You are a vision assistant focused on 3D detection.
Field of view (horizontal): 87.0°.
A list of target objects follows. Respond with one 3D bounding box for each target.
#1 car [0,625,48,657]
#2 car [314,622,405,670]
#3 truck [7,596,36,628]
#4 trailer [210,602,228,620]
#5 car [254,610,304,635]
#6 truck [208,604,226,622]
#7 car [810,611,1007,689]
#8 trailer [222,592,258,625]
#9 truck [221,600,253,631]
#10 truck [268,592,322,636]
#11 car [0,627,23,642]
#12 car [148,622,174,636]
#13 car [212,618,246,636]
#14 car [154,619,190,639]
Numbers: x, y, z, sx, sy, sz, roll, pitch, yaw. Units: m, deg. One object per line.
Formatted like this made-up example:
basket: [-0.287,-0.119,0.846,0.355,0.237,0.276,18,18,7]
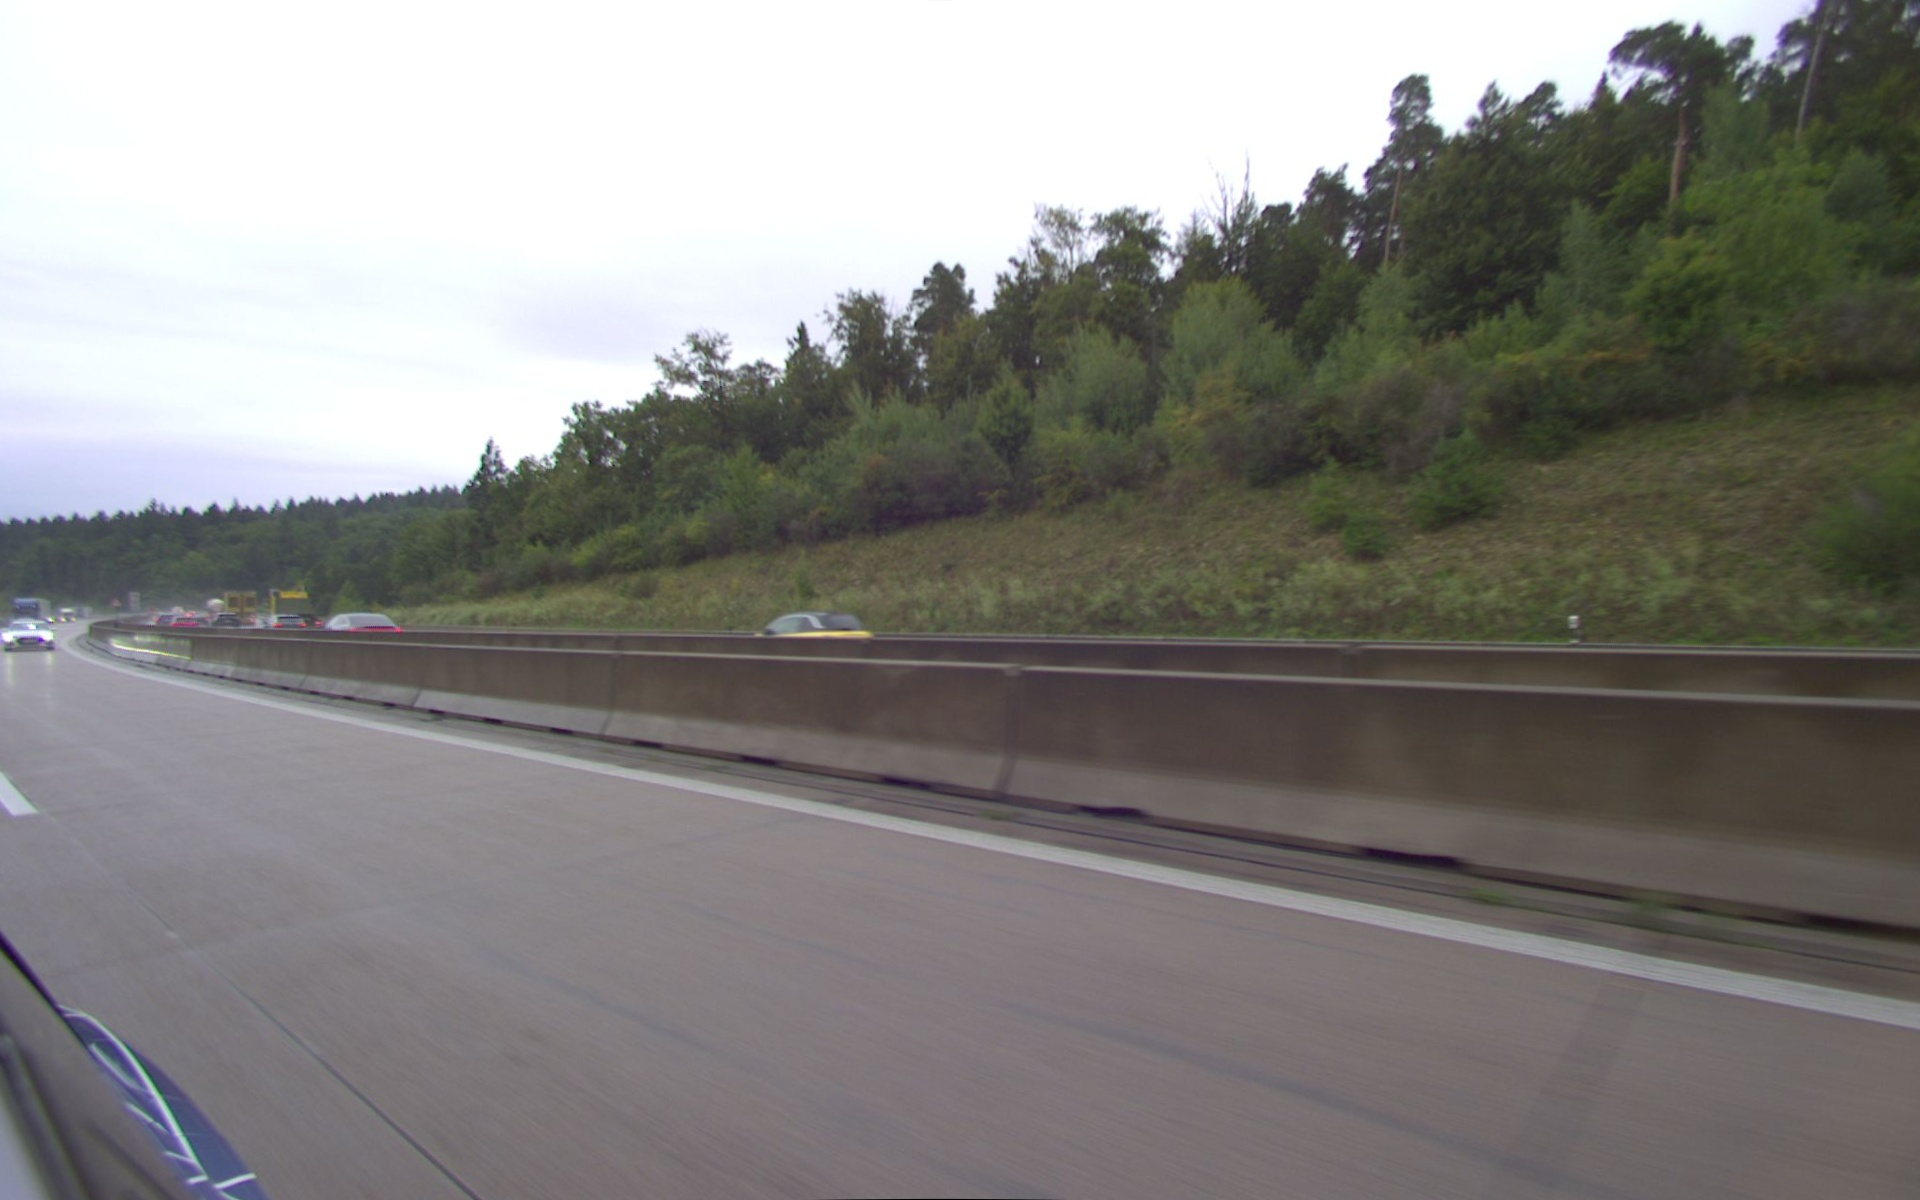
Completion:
car: [-45.041,1.947,48.578,1.692,1.417,4.939,-1,-1,-44]
car: [-21.158,1.577,35.570,1.843,1.560,4.002,0,-1,-45]
truck: [-131.656,1.707,141.979,2.699,4.183,8.627,-1,-1,-44]
trailer: [-155.501,2.397,212.448,2.514,3.694,8.244,-1,0,-40]
car: [-39.729,1.285,58.978,4.088,1.356,1.635,-1,0,45]
truck: [-160.353,2.802,218.293,2.532,3.694,10.510,-1,0,-39]
car: [-1.178,1.020,21.629,4.279,1.498,1.558,-2,-1,40]
trailer: [-90.269,1.081,126.766,2.975,3.904,13.727,-1,0,-38]
truck: [-94.496,2.002,132.150,2.987,3.904,8.133,-1,0,-38]
truck: [-53.779,1.137,81.734,2.589,3.321,9.397,0,-1,-40]
car: [-93.347,3.378,99.385,1.691,1.417,4.943,-1,-1,-40]
car: [-82.619,2.997,104.624,1.634,1.356,4.088,-1,0,-44]
car: [-61.762,2.262,85.457,1.783,1.356,4.772,-1,0,-42]
car: [-58.466,2.143,75.036,1.634,1.356,4.088,-1,0,-44]
